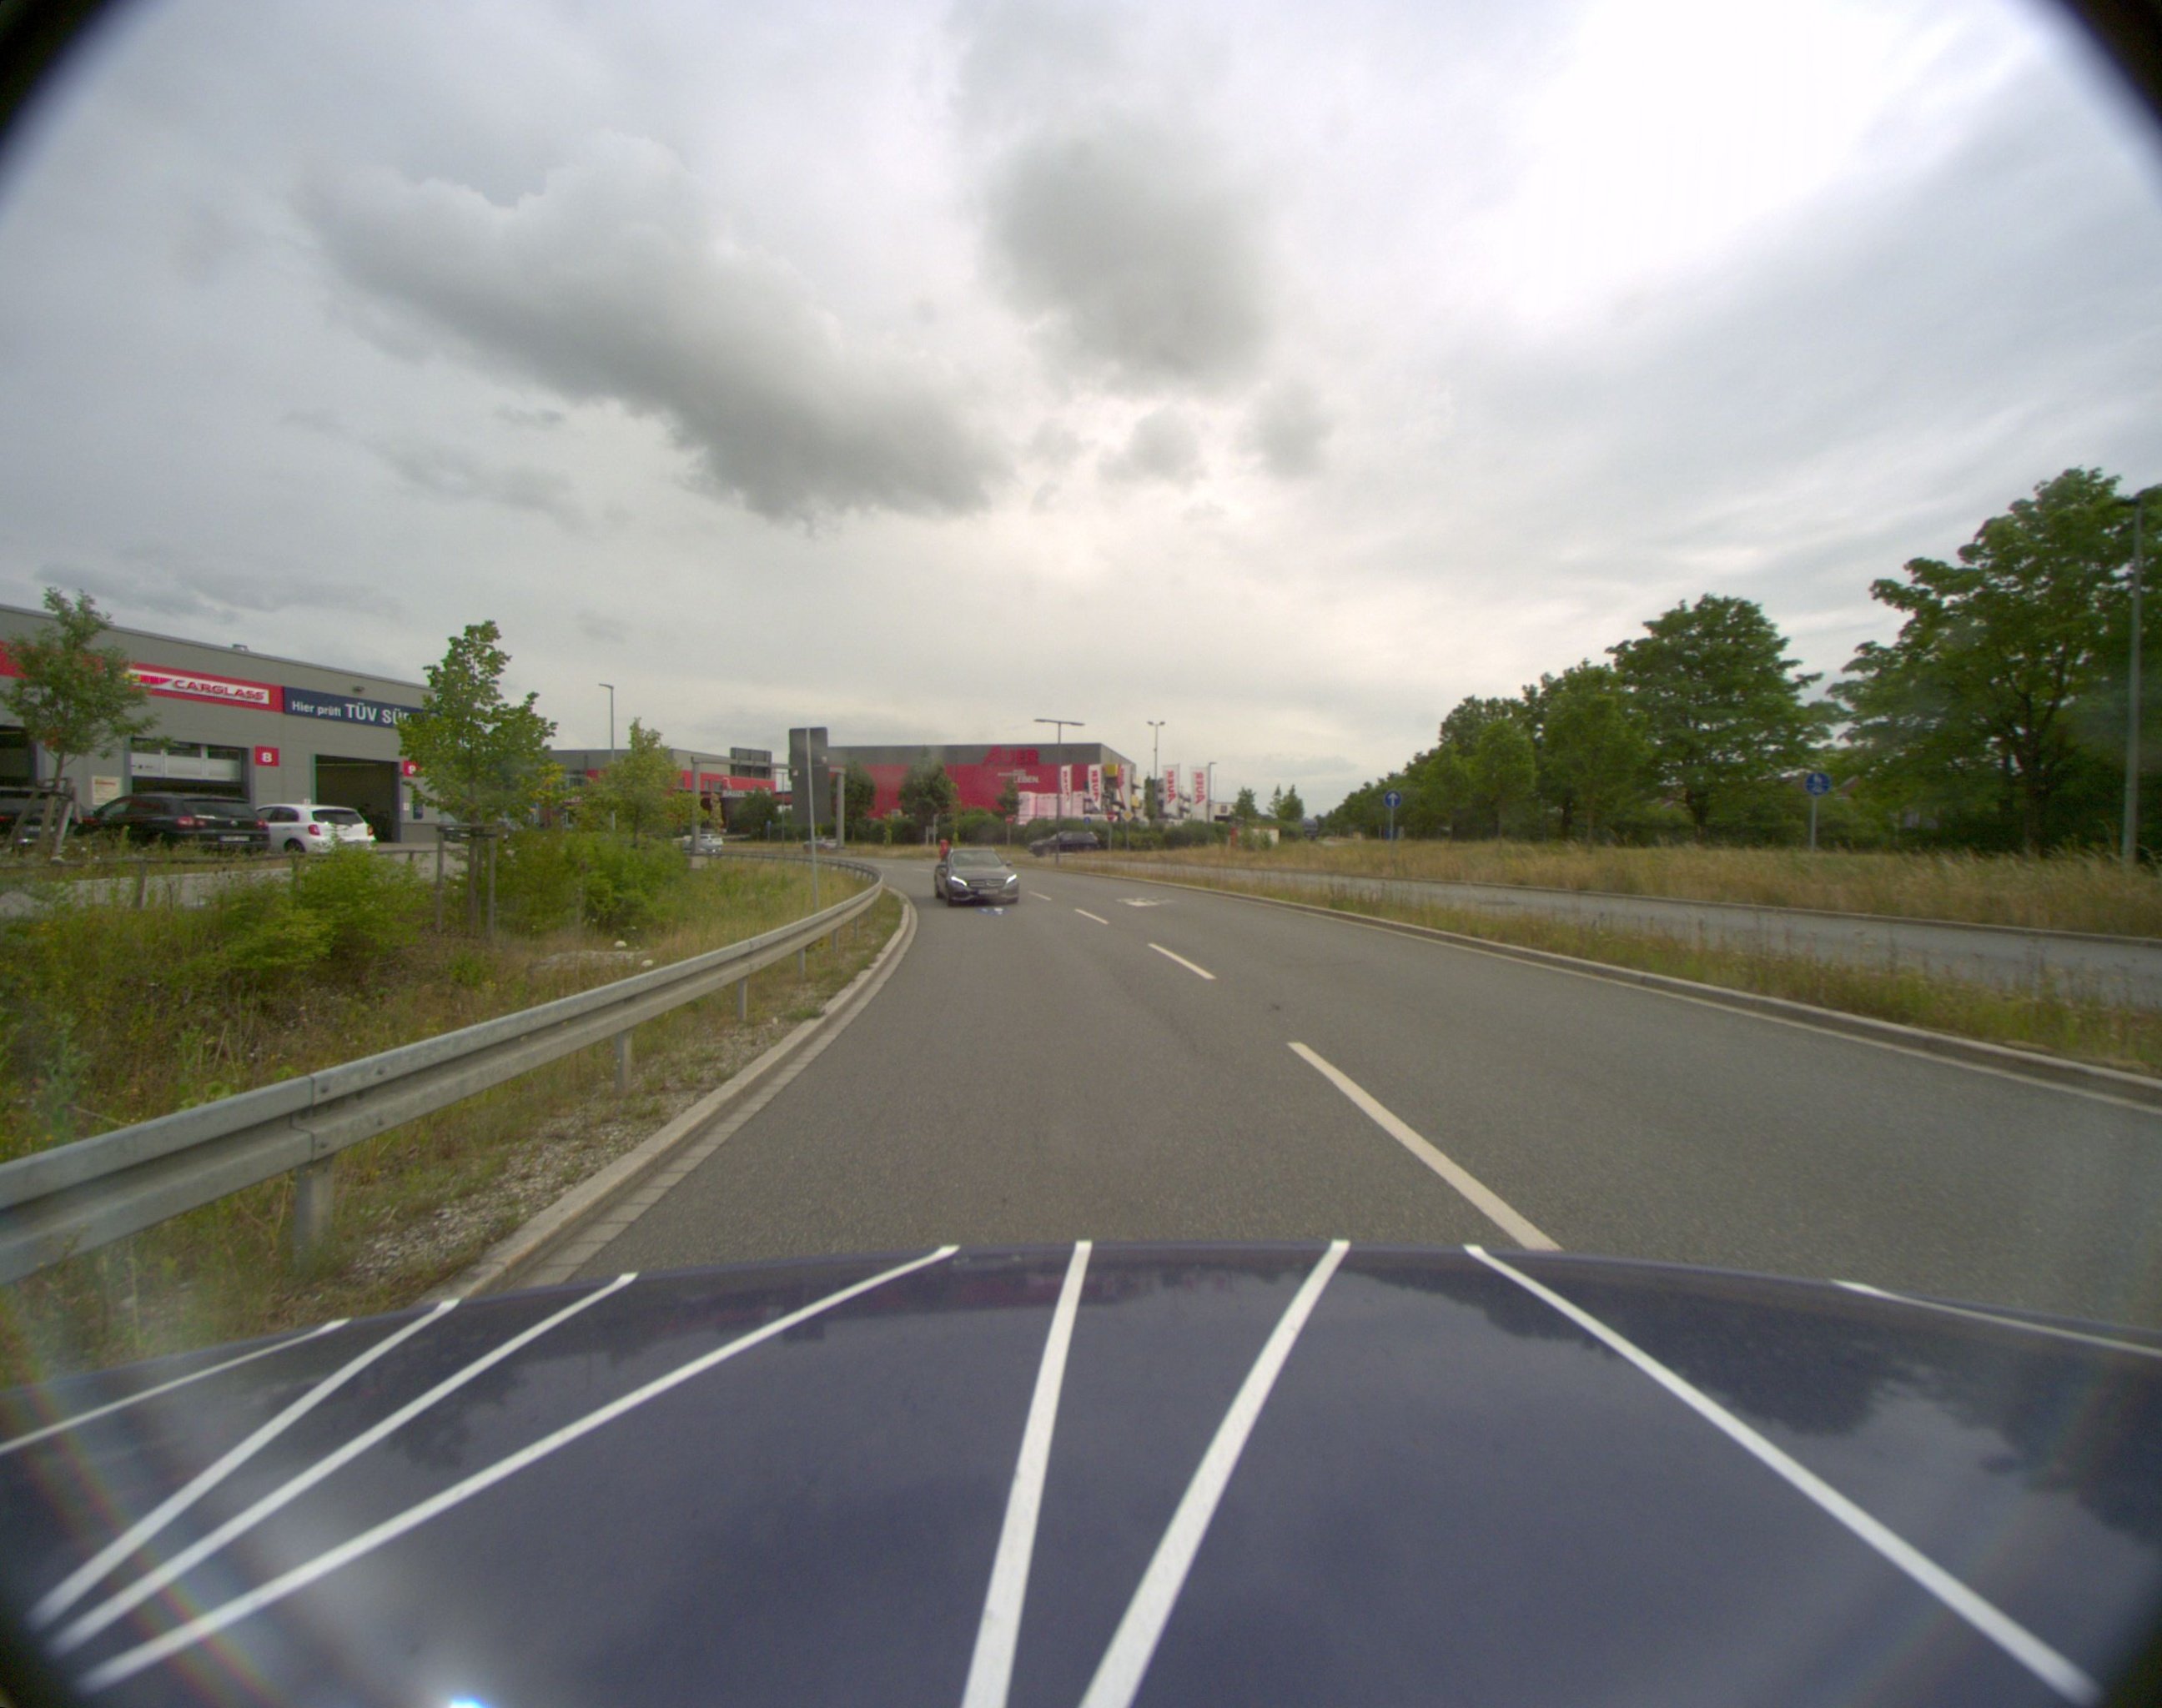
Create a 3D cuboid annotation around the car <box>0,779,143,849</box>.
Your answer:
[{"bbox_3d":[-21.836,-0.800,15.745,3.439,1.327,1.645,1,2,13],"label":"car"}]

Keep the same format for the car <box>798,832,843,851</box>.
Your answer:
[{"bbox_3d":[-23.178,-1.101,67.551,4.084,1.479,1.465,0,7,33],"label":"car"}]

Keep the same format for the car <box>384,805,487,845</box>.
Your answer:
[{"bbox_3d":[-31.604,-1.413,37.248,3.964,1.800,1.707,1,0,11],"label":"car"}]

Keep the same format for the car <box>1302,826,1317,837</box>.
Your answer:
[{"bbox_3d":[39.404,-3.836,131.058,1.997,1.739,4.003,2,0,11],"label":"car"}]

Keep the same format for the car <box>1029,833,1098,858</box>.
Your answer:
[{"bbox_3d":[-1.213,-0.596,51.034,4.259,1.541,1.870,-1,3,-19],"label":"car"}]

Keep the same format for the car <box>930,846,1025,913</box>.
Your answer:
[{"bbox_3d":[-2.922,0.578,20.567,1.908,1.489,4.332,-2,2,-16],"label":"car"}]

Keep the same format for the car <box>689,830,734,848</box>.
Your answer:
[{"bbox_3d":[-37.144,-1.484,76.365,4.256,1.626,1.722,-1,4,25],"label":"car"}]

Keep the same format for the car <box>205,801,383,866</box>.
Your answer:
[{"bbox_3d":[-21.169,-0.564,20.486,3.621,1.530,1.645,3,2,12],"label":"car"}]

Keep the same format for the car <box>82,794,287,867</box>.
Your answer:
[{"bbox_3d":[-21.305,-0.555,18.115,3.439,1.626,1.733,1,2,13],"label":"car"}]

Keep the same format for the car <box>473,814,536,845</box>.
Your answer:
[{"bbox_3d":[-36.360,-1.577,48.027,1.806,1.773,4.160,-2,5,-18],"label":"car"}]
